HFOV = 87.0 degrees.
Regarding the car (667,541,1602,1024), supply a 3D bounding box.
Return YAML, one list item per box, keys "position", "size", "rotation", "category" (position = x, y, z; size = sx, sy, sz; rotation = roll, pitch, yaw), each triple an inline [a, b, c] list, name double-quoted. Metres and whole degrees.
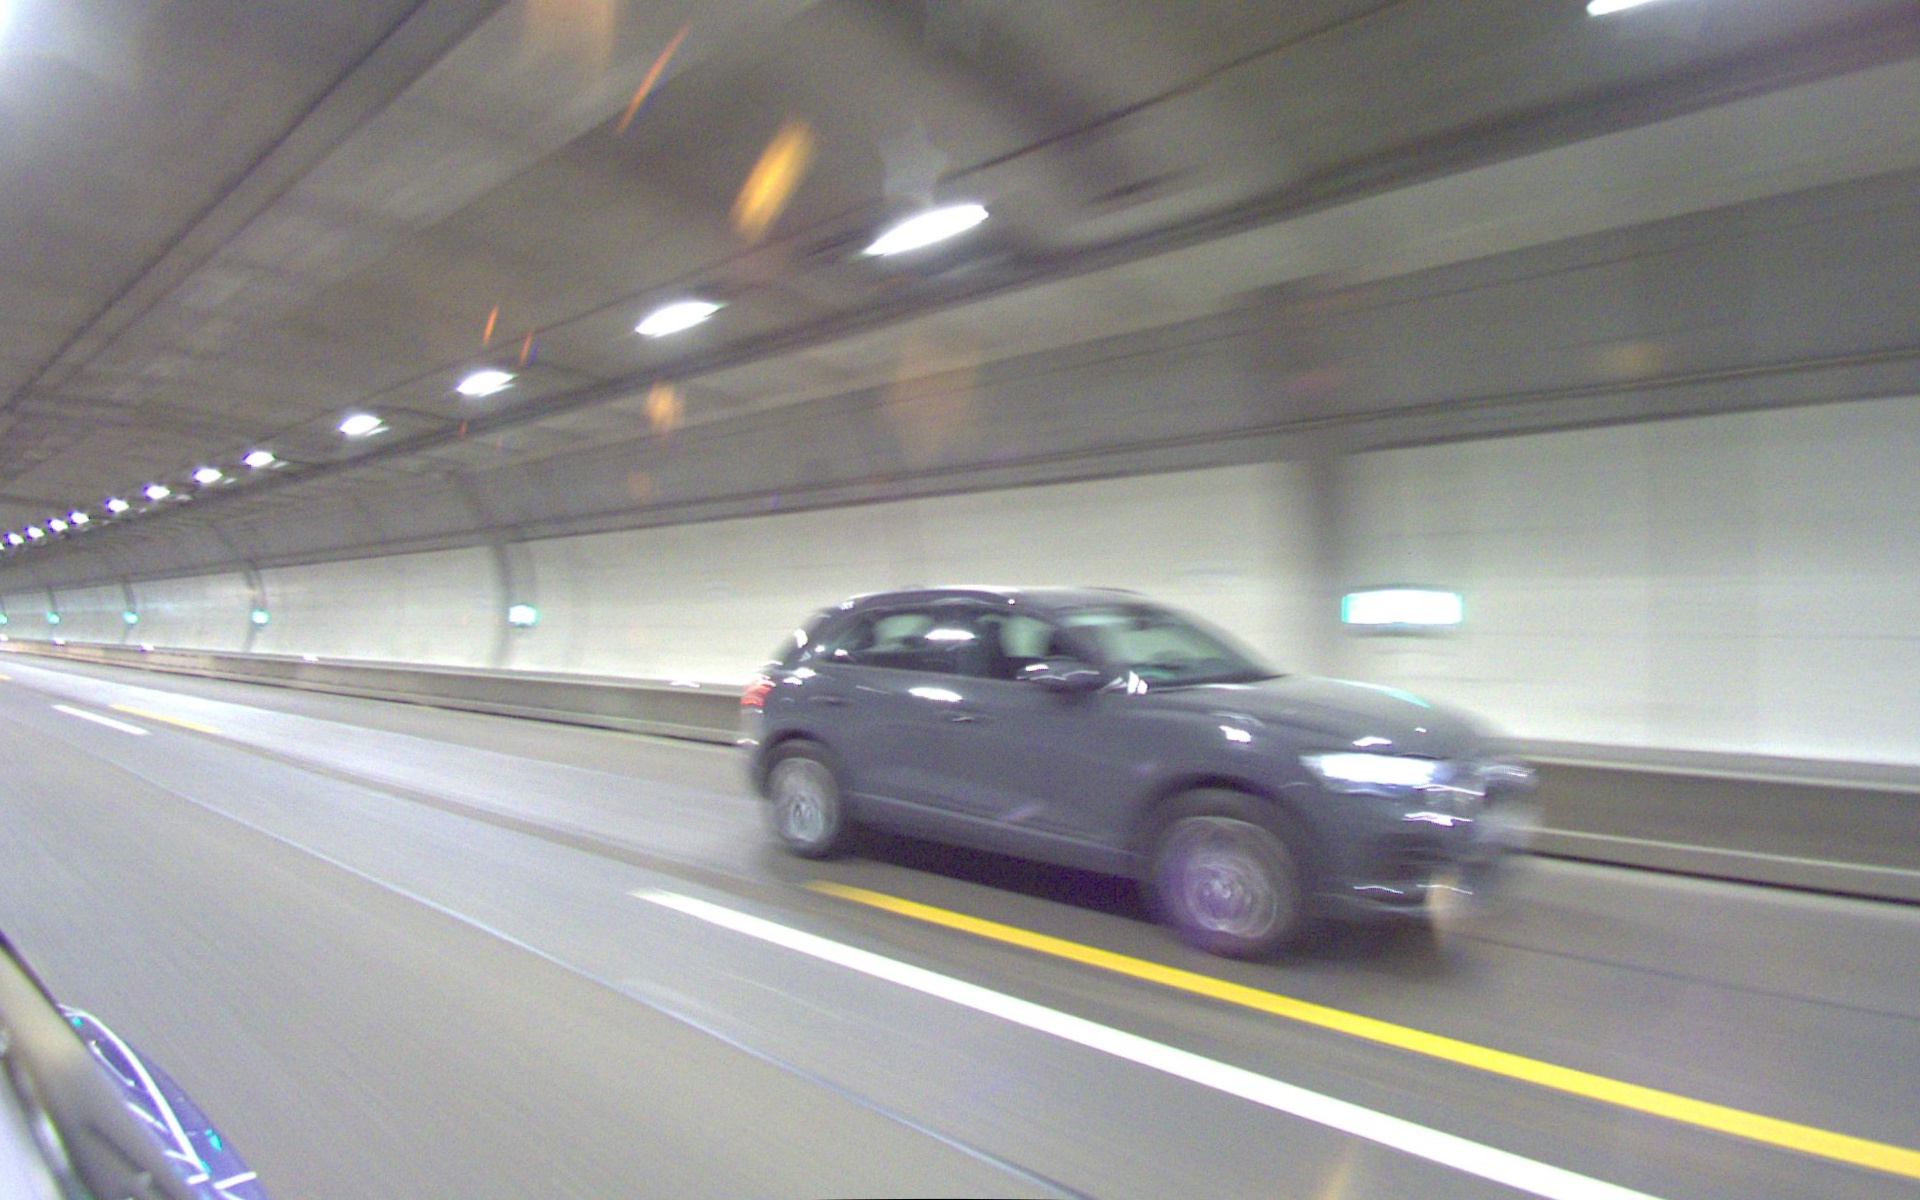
- position: [0.588, 0.603, 5.563]
  size: [4.740, 1.552, 1.973]
  rotation: [-1, 0, 41]
  category: "car"
